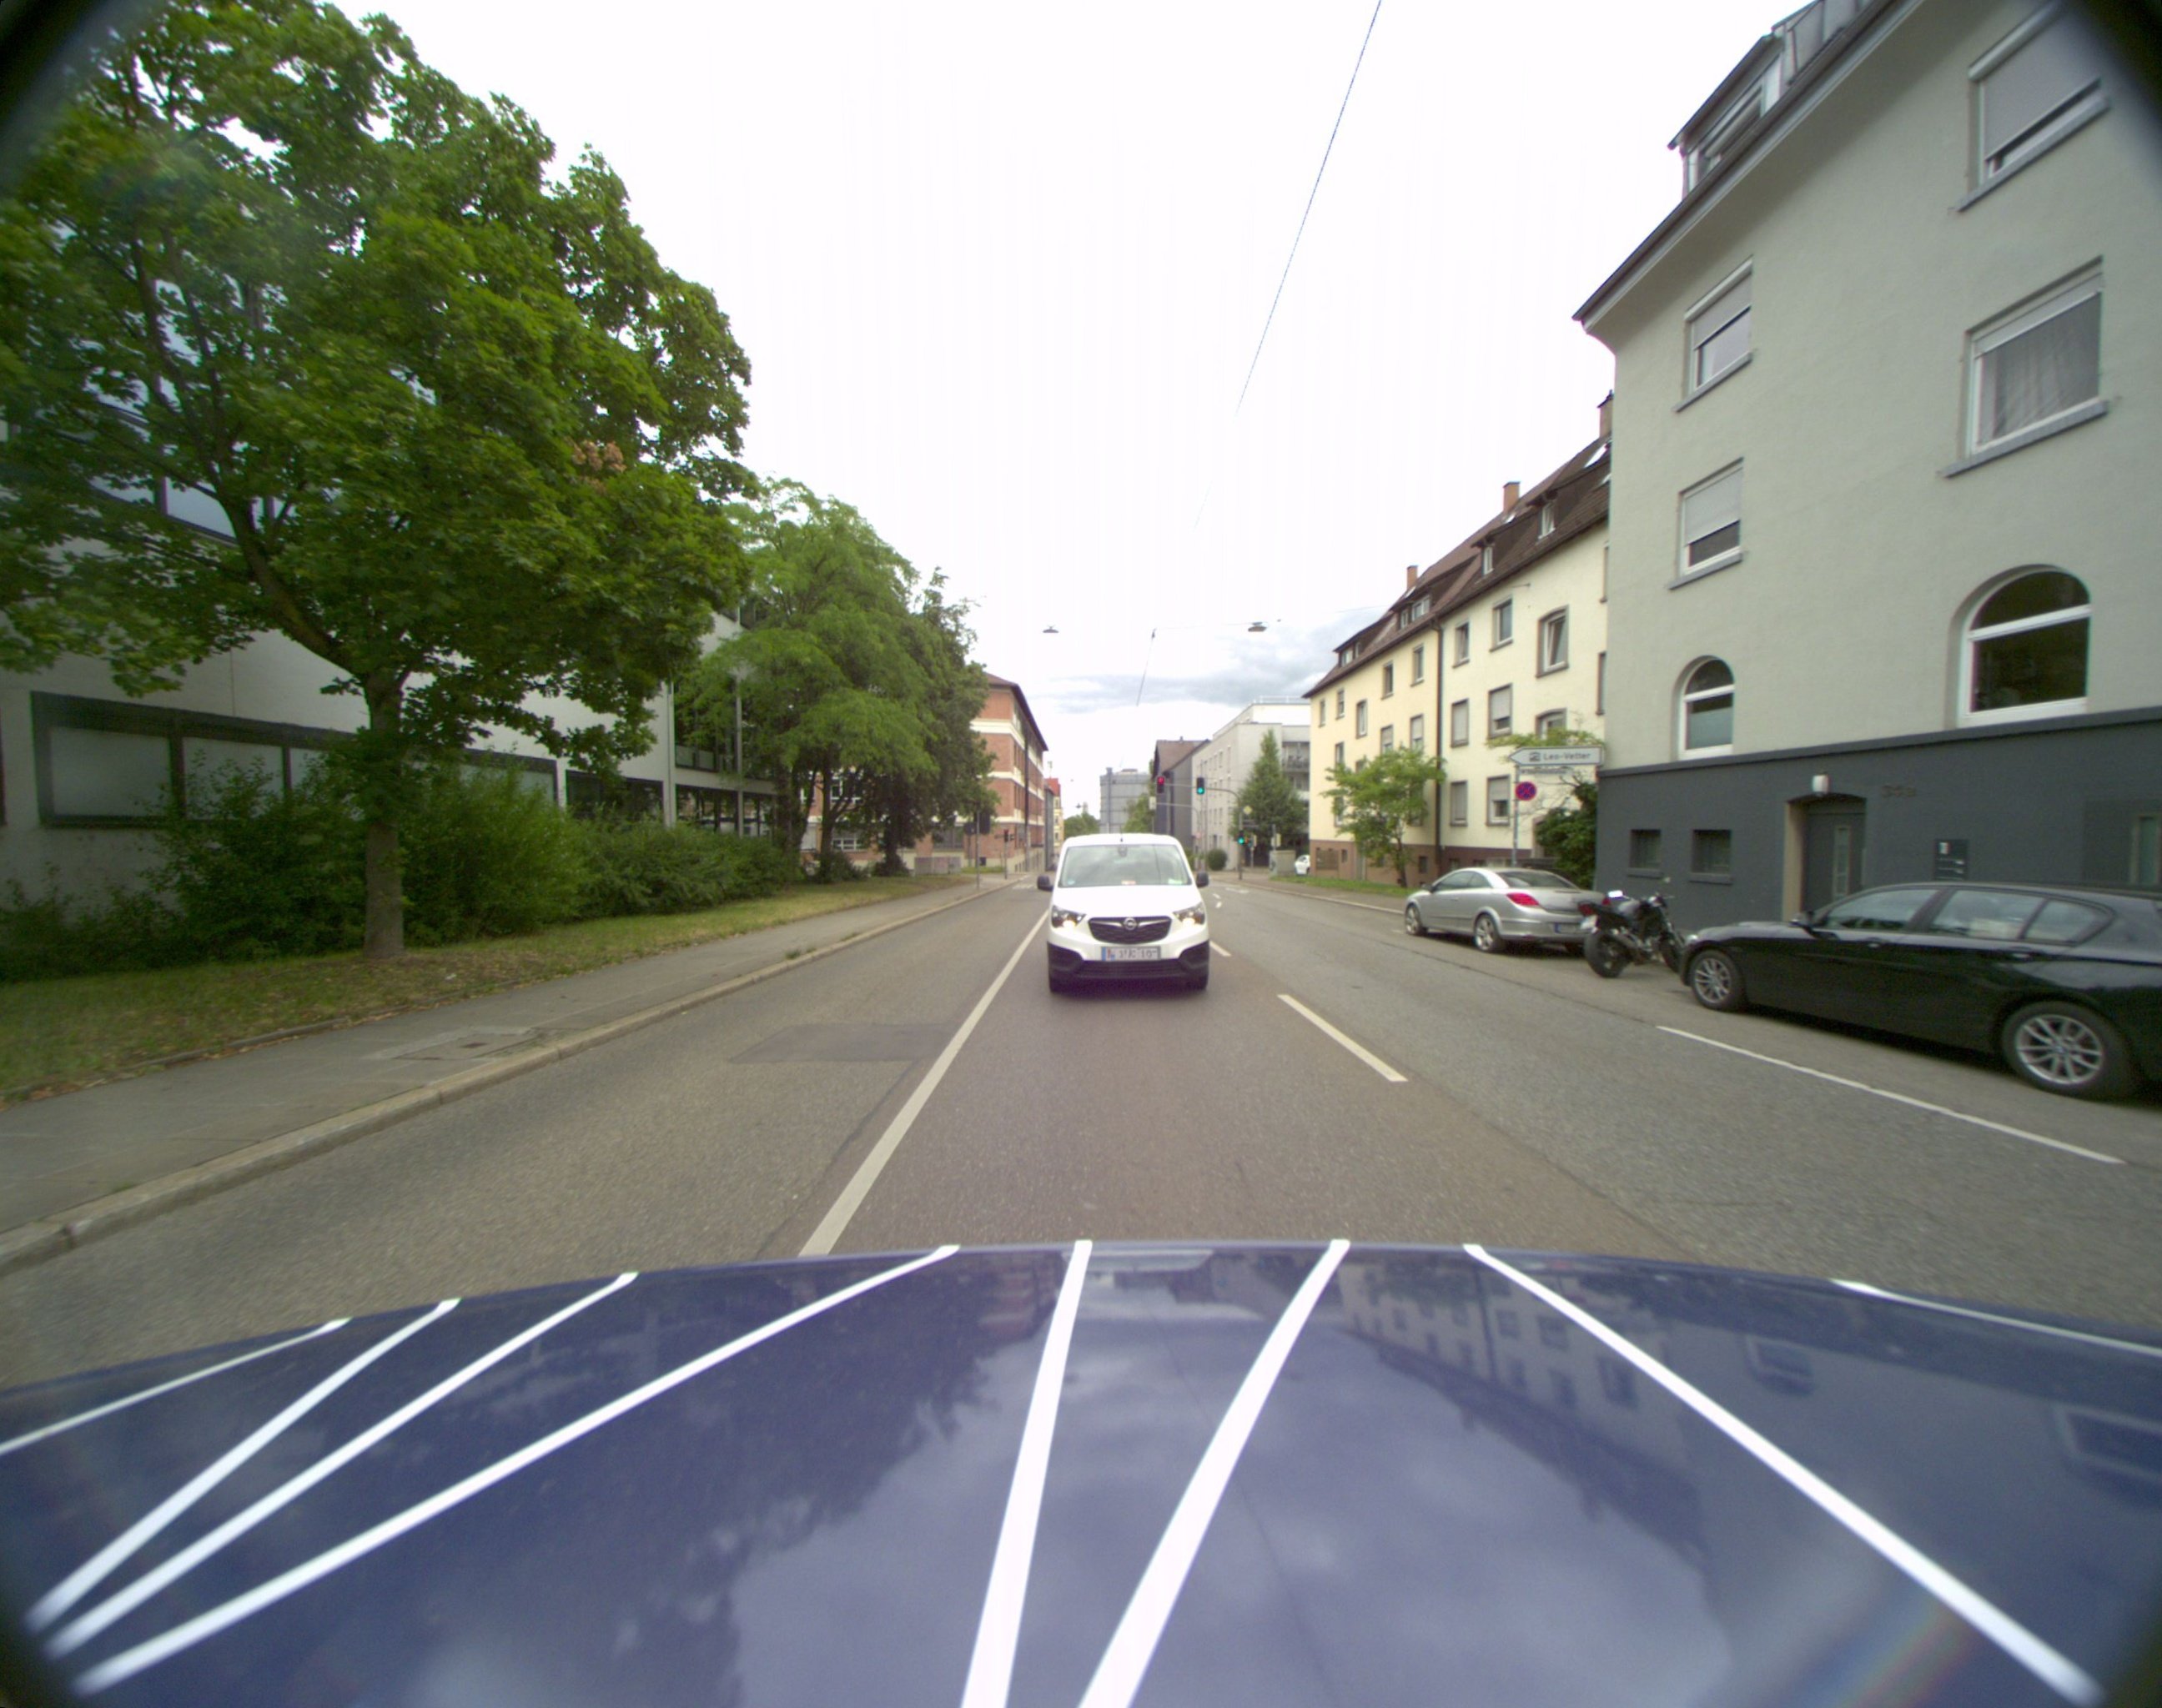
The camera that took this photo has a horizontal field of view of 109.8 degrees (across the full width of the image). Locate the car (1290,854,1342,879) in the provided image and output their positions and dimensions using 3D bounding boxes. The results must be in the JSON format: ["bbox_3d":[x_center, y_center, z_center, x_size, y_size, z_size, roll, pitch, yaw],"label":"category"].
[{"bbox_3d":[15.205,0.826,49.439,1.819,1.527,4.259,2,-1,-4],"label":"car"}]

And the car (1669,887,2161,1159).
[{"bbox_3d":[7.177,1.073,6.056,1.731,1.421,4.191,0,0,0],"label":"car"}]

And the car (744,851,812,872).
[{"bbox_3d":[-21.440,0.565,53.910,4.425,1.396,1.771,1,-3,-21],"label":"car"}]

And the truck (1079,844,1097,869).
[{"bbox_3d":[1.027,0.408,110.069,2.545,3.478,8.521,1,0,1],"label":"truck"}]

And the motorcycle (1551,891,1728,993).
[{"bbox_3d":[7.428,1.144,10.125,2.048,1.228,0.806,2,0,-17],"label":"motorcycle"}]

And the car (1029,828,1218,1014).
[{"bbox_3d":[0.462,0.710,9.701,1.850,1.831,4.284,-1,-1,1],"label":"car"}]

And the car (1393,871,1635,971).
[{"bbox_3d":[7.290,1.043,13.394,1.731,1.366,4.337,0,0,-1],"label":"car"}]
